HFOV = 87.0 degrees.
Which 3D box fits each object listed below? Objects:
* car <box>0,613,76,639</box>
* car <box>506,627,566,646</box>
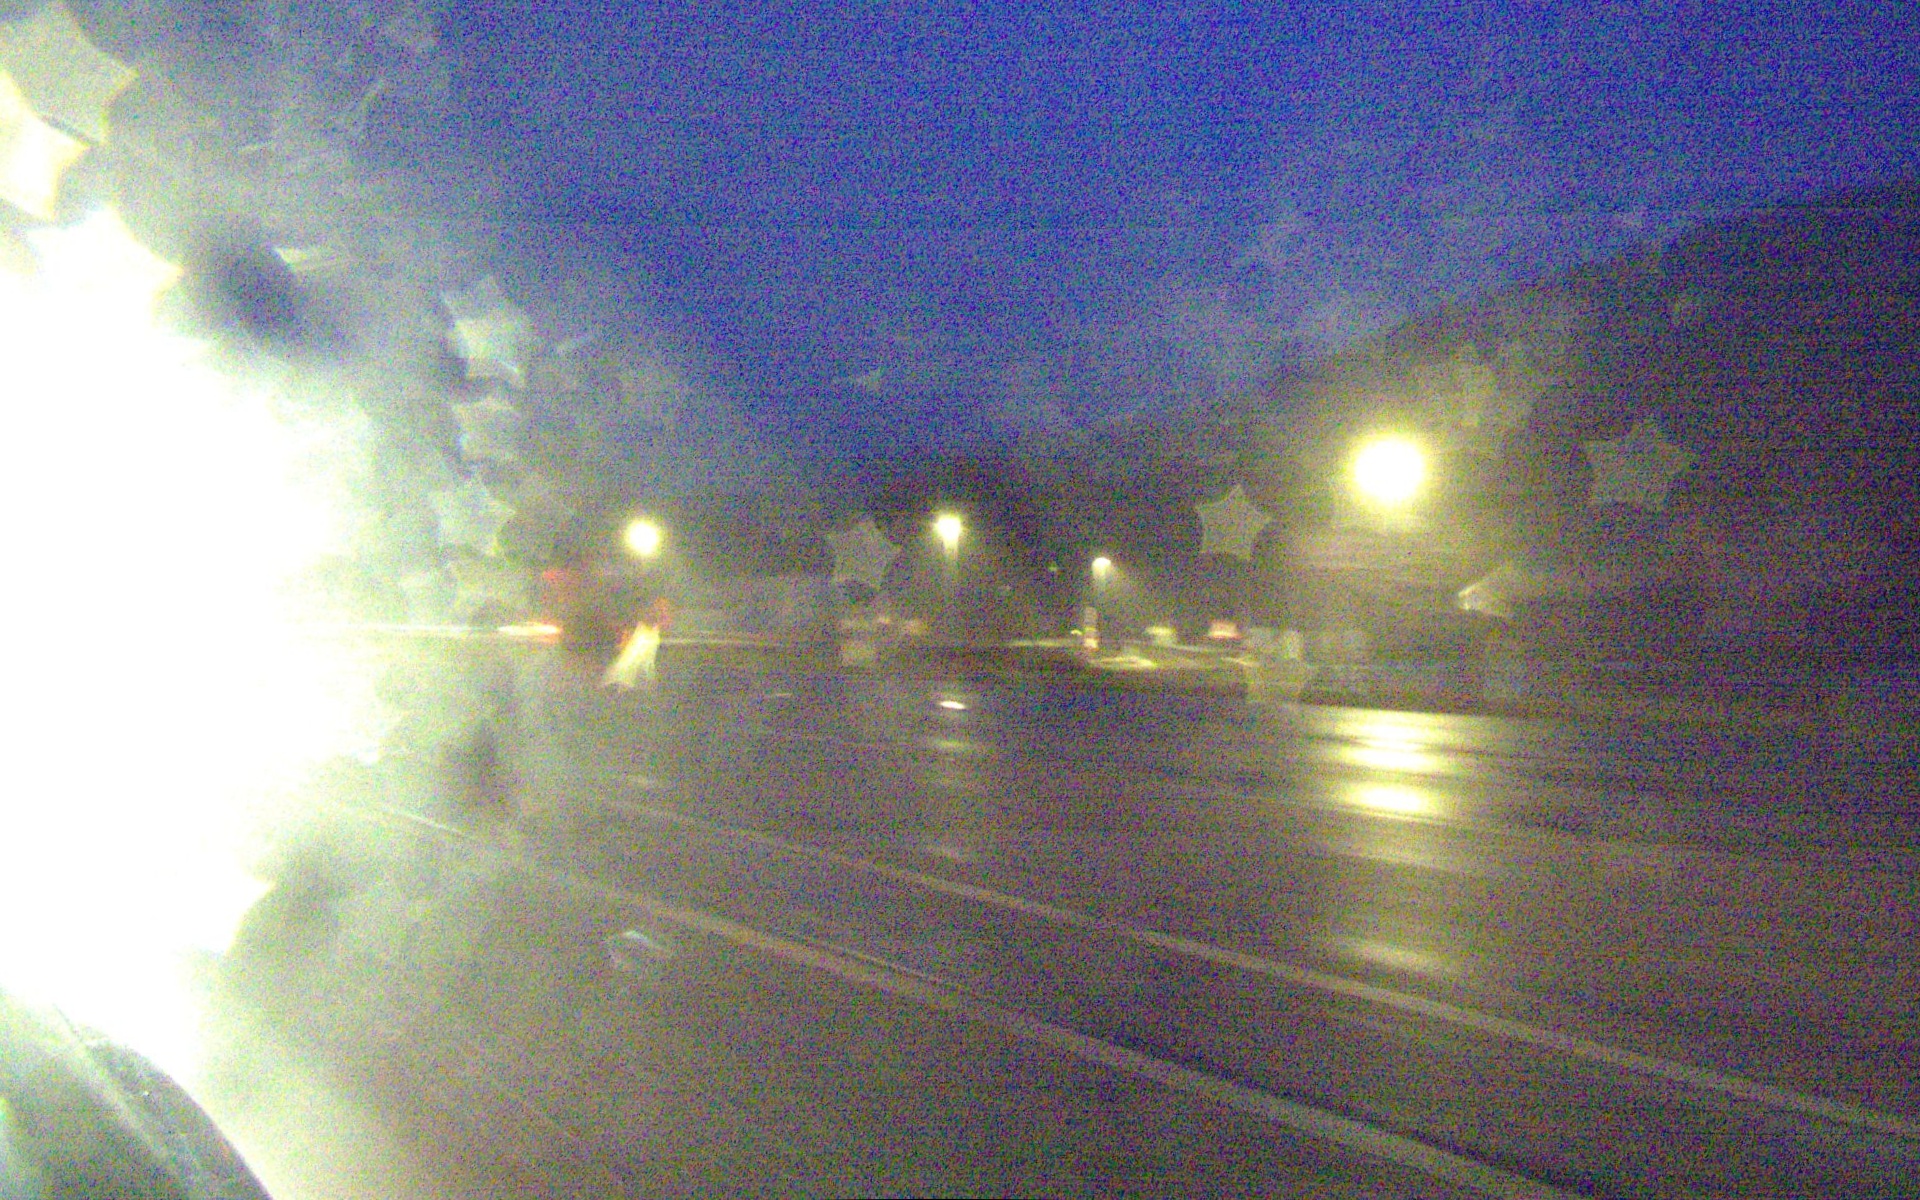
[{"bbox_3d":[-73.012,2.001,79.592,4.839,1.954,2.007,0,0,-25],"label":"car"},{"bbox_3d":[-36.614,3.144,87.482,4.510,1.408,1.991,1,0,14],"label":"car"}]
